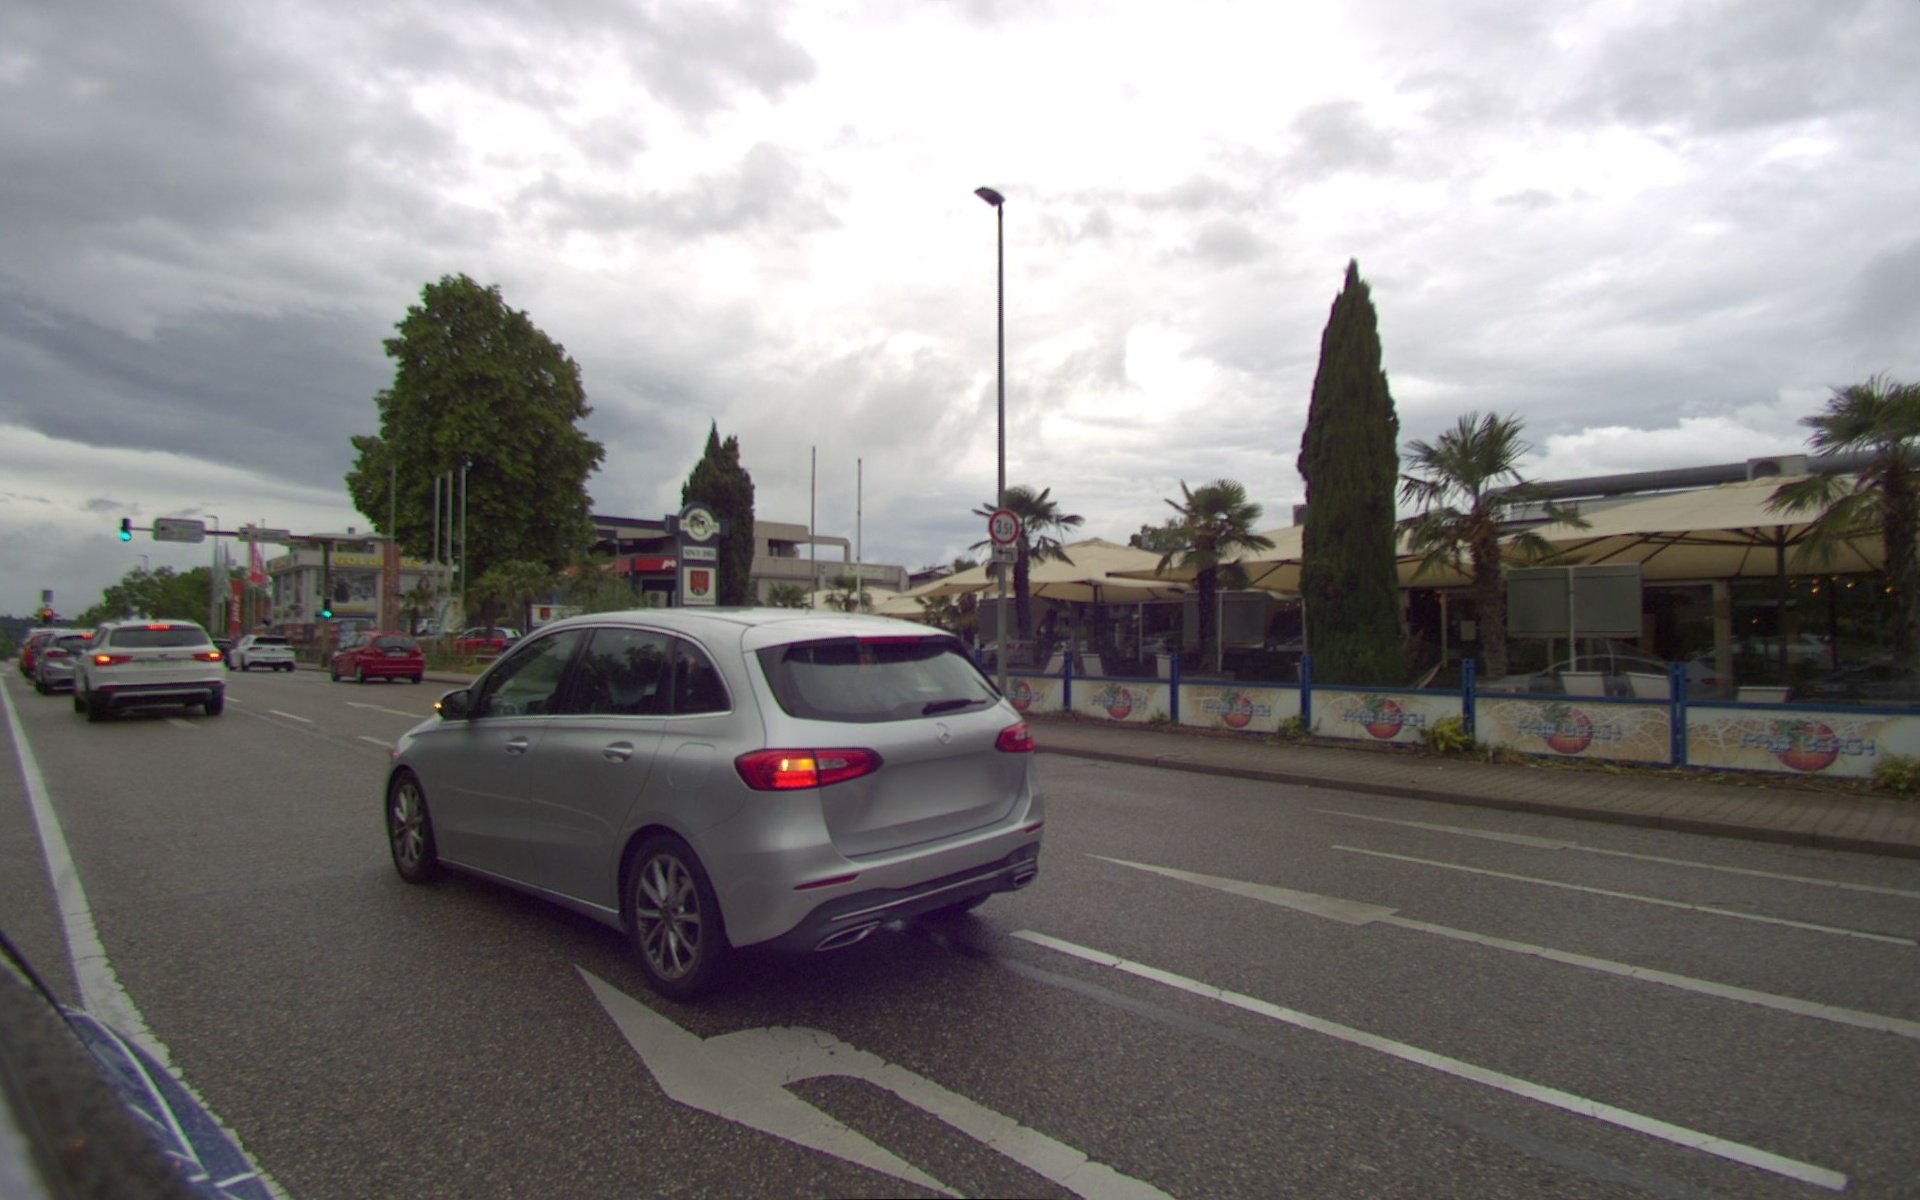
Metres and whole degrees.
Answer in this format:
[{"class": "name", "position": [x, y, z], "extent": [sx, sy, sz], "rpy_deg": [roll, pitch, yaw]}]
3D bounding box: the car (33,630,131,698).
[{"class": "car", "position": [-20.904, 1.458, 24.049], "extent": [1.583, 1.452, 3.952], "rpy_deg": [0, -1, -44]}]

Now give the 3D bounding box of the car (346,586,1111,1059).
[{"class": "car", "position": [-1.496, 0.769, 5.347], "extent": [4.299, 1.519, 1.731], "rpy_deg": [-1, -2, 41]}]

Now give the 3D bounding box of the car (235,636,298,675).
[{"class": "car", "position": [-28.083, 2.222, 40.940], "extent": [1.617, 1.489, 4.050], "rpy_deg": [2, -3, -41]}]

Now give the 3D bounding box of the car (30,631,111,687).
[{"class": "car", "position": [-25.555, 1.678, 29.034], "extent": [1.583, 1.452, 3.952], "rpy_deg": [0, -3, -44]}]

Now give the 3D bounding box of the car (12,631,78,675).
[{"class": "car", "position": [-37.111, 2.155, 41.004], "extent": [1.818, 1.662, 4.300], "rpy_deg": [2, -4, -44]}]

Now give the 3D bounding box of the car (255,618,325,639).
[{"class": "car", "position": [-41.276, 1.782, 62.392], "extent": [1.455, 1.176, 3.347], "rpy_deg": [-4, -5, 44]}]

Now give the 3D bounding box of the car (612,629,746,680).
[{"class": "car", "position": [-9.211, 1.839, 33.548], "extent": [1.987, 1.475, 4.335], "rpy_deg": [2, -3, 22]}]

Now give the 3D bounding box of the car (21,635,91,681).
[{"class": "car", "position": [-31.142, 1.953, 34.829], "extent": [1.613, 1.445, 4.148], "rpy_deg": [2, -3, -44]}]

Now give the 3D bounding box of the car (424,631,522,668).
[{"class": "car", "position": [-21.192, 2.156, 44.159], "extent": [3.557, 1.515, 1.670], "rpy_deg": [1, -2, -14]}]

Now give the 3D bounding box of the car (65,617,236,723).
[{"class": "car", "position": [-13.870, 1.102, 17.248], "extent": [4.241, 1.593, 1.767], "rpy_deg": [-2, -2, 45]}]

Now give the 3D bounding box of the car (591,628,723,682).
[{"class": "car", "position": [-10.789, 2.007, 36.481], "extent": [1.984, 1.715, 4.981], "rpy_deg": [2, -3, 19]}]

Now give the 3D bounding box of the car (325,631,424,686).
[{"class": "car", "position": [-17.547, 1.719, 30.256], "extent": [1.618, 1.545, 3.975], "rpy_deg": [4, -4, -44]}]

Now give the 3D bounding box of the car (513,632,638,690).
[{"class": "car", "position": [-14.135, 2.282, 37.508], "extent": [1.984, 2.029, 4.372], "rpy_deg": [-1, -4, 18]}]
